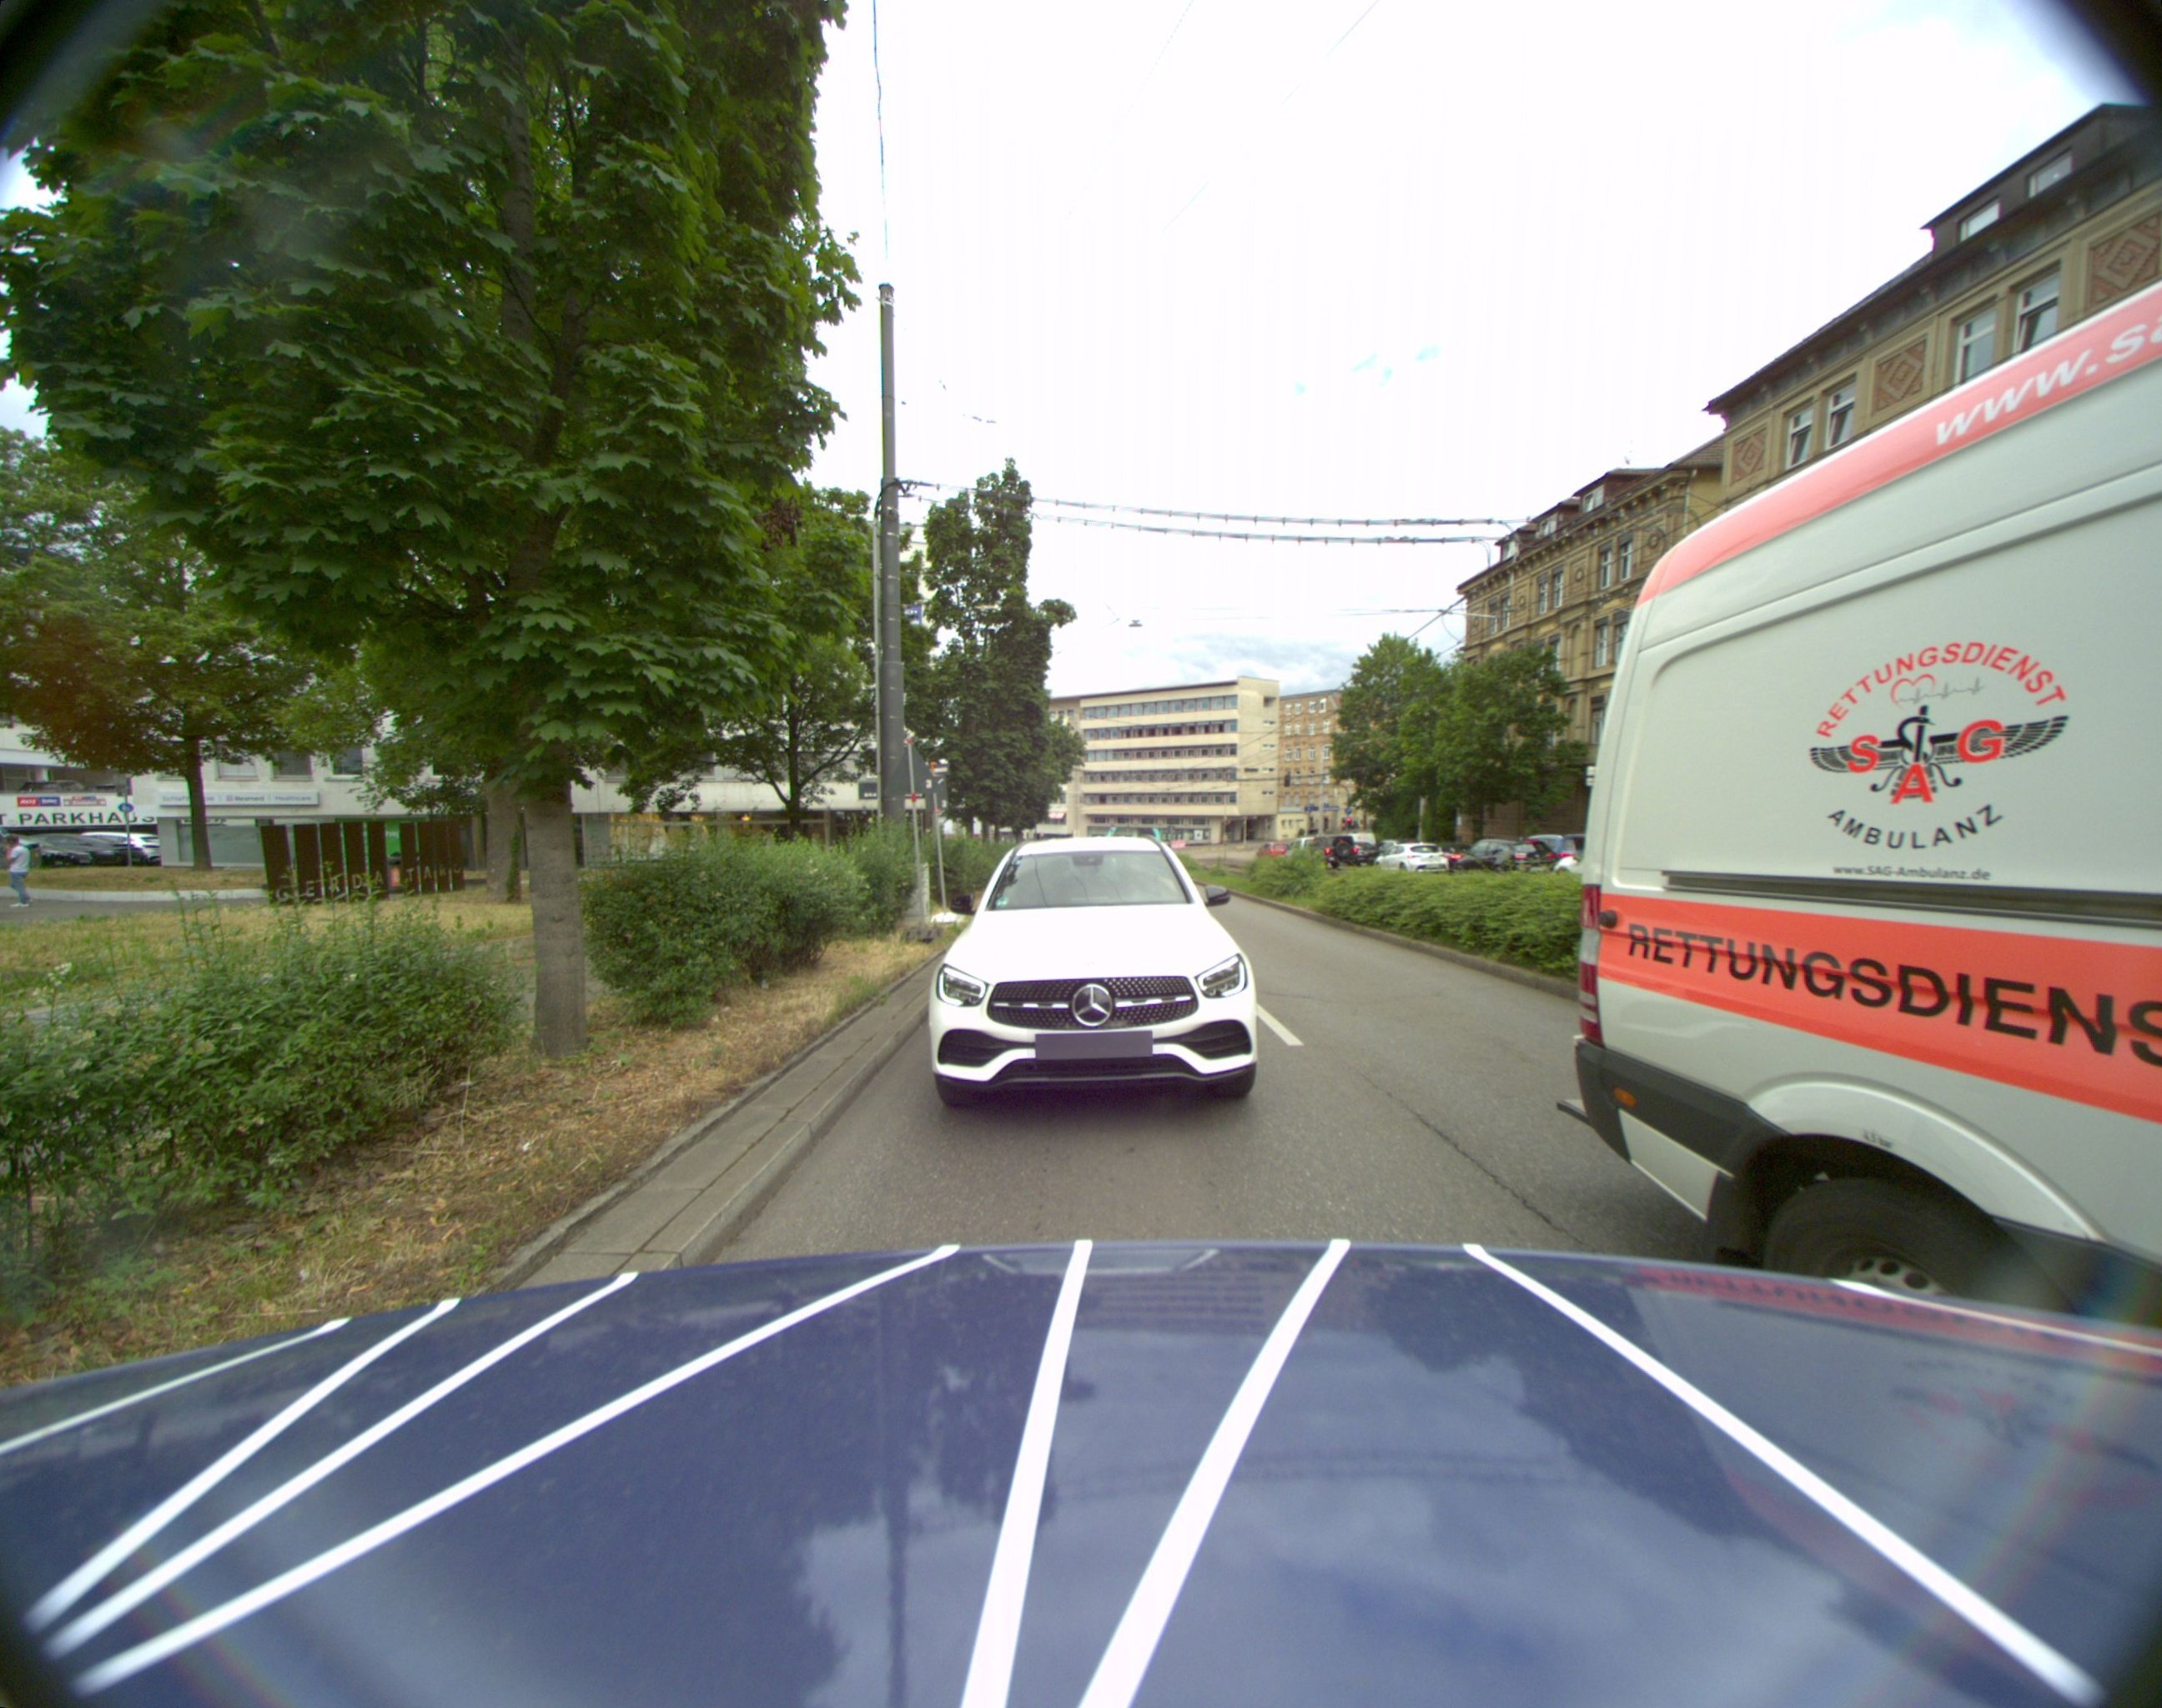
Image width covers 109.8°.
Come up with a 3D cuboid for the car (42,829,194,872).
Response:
[{"bbox_3d":[-43.266,-0.170,34.244,4.001,1.677,1.687,-3,1,-12],"label":"car"}]

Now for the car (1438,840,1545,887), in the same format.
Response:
[{"bbox_3d":[14.267,0.295,26.649,1.759,1.521,3.759,0,1,1],"label":"car"}]

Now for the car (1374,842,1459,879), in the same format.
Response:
[{"bbox_3d":[14.371,0.229,32.816,1.899,1.487,3.999,0,1,-1],"label":"car"}]

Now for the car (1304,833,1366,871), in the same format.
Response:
[{"bbox_3d":[14.180,-0.125,42.729,2.147,2.002,4.748,0,1,3],"label":"car"}]

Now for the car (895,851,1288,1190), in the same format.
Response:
[{"bbox_3d":[0.023,0.802,5.952,1.894,1.610,4.477,-1,1,-1],"label":"car"}]

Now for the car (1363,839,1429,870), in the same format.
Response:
[{"bbox_3d":[16.701,-0.017,40.483,1.759,1.561,3.999,0,1,-1],"label":"car"}]

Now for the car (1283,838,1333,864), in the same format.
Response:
[{"bbox_3d":[14.200,-0.185,47.716,1.998,1.575,3.999,0,1,1],"label":"car"}]

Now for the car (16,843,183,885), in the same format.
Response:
[{"bbox_3d":[-41.534,0.380,32.272,4.000,1.707,1.998,0,1,-10],"label":"car"}]

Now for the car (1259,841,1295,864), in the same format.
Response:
[{"bbox_3d":[13.976,-0.119,54.299,1.681,1.620,3.844,0,1,2],"label":"car"}]

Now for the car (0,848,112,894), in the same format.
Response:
[{"bbox_3d":[-40.994,0.625,29.387,4.000,1.707,1.998,0,1,-10],"label":"car"}]

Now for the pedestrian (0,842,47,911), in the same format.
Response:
[{"bbox_3d":[-23.813,0.491,17.103,0.672,1.524,0.529,1,2,30],"label":"pedestrian"}]

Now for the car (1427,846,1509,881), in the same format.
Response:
[{"bbox_3d":[16.888,0.359,33.386,1.726,1.443,3.747,0,1,1],"label":"car"}]

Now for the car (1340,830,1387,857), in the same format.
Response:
[{"bbox_3d":[21.191,-0.795,57.113,1.848,1.904,3.998,0,1,-3],"label":"car"}]

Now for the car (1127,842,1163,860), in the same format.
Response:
[{"bbox_3d":[5.744,-0.289,67.793,1.995,1.543,4.324,0,1,21],"label":"car"}]

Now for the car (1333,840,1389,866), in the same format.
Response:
[{"bbox_3d":[16.691,-0.073,45.487,1.888,1.502,3.999,0,1,1],"label":"car"}]

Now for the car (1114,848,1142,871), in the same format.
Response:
[{"bbox_3d":[3.440,0.362,56.305,1.930,1.563,4.181,-2,1,2],"label":"car"}]

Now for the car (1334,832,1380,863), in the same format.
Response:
[{"bbox_3d":[19.323,-0.472,53.367,1.794,2.109,3.916,0,1,1],"label":"car"}]
